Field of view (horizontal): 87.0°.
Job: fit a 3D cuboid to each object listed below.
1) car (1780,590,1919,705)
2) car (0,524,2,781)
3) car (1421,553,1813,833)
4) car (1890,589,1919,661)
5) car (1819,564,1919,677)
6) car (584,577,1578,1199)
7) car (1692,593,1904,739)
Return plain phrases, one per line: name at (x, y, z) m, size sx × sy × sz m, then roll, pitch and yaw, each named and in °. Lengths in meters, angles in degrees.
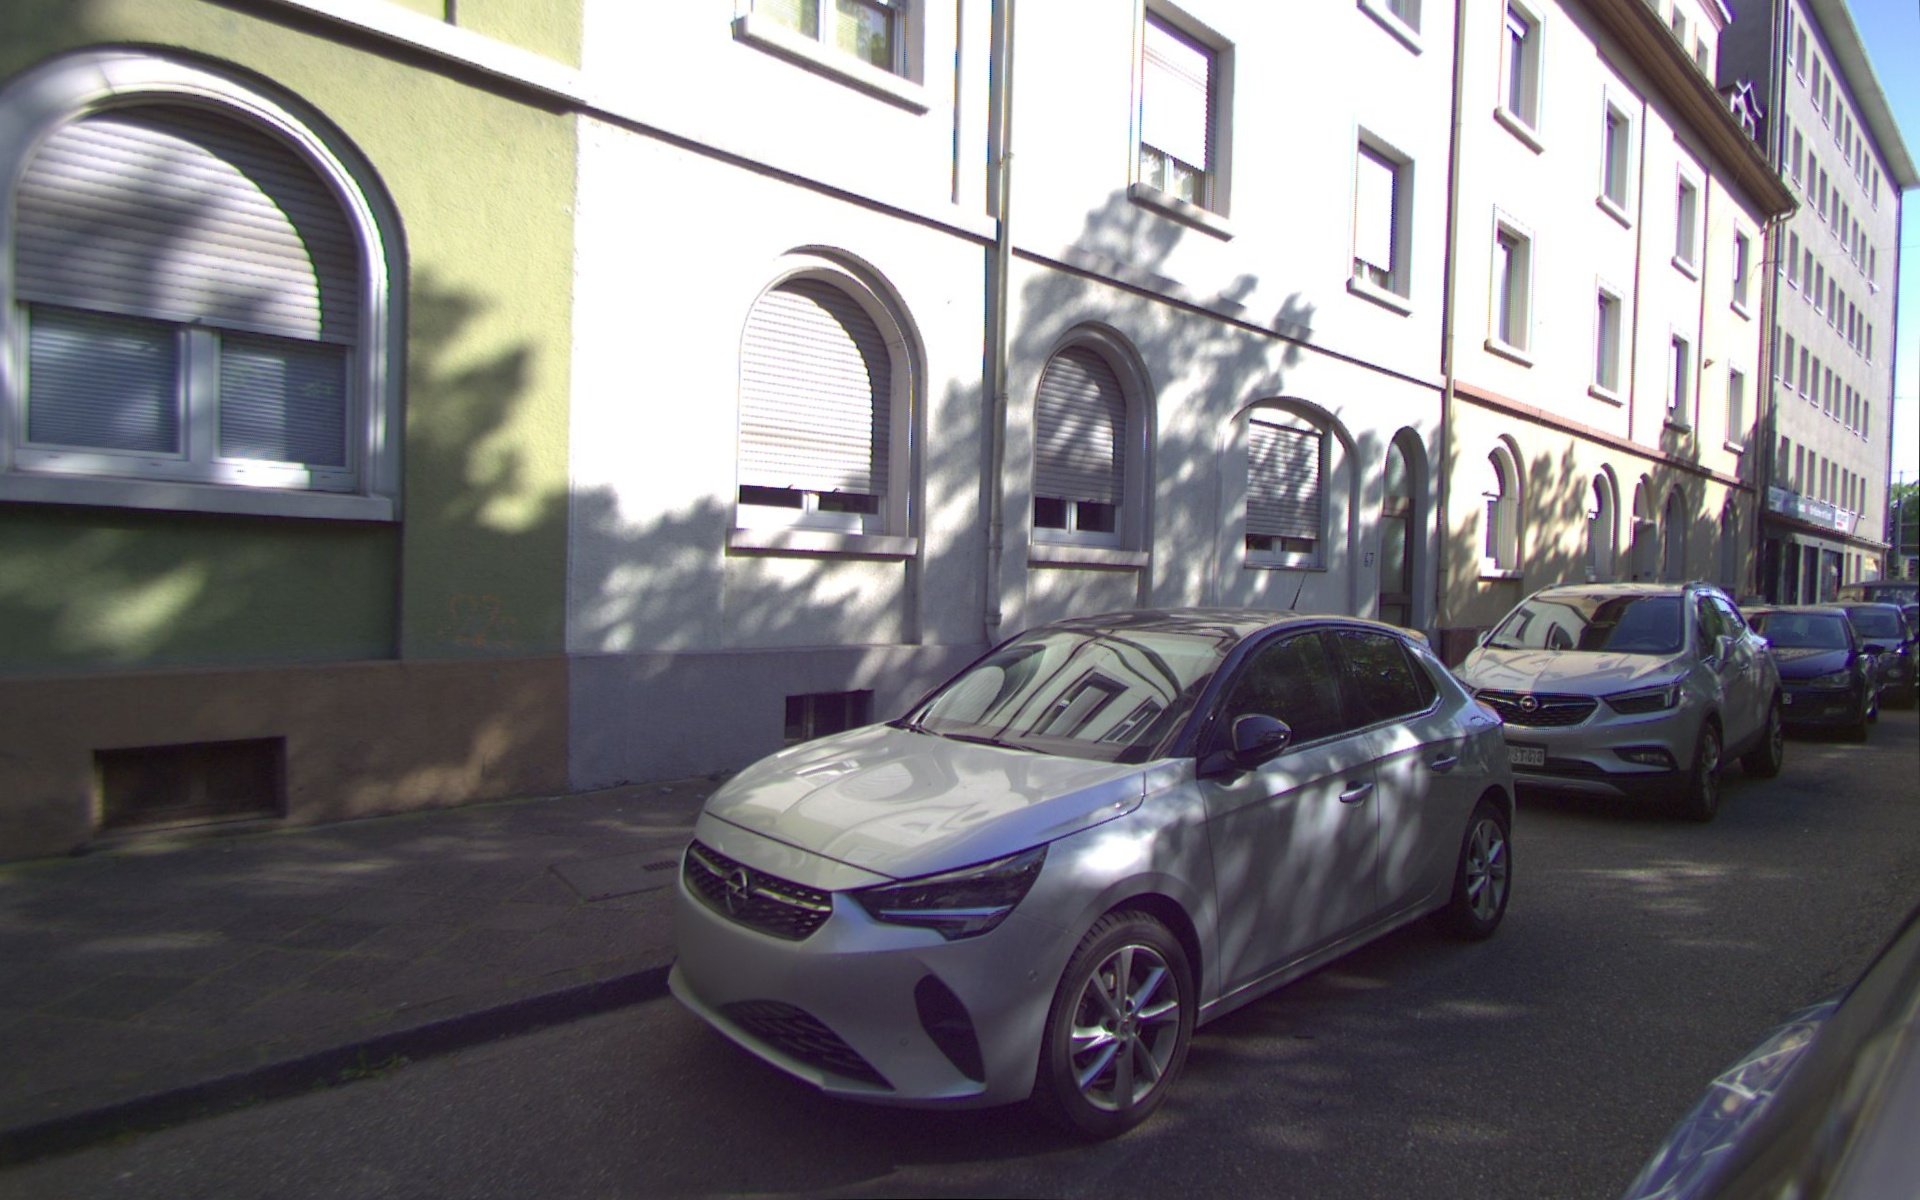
car at (13.823, 0.635, 15.386) m, size 3.534 × 1.517 × 1.624 m, roll 0°, pitch 2°, yaw -43°
car at (-3.298, 0.623, 0.478) m, size 4.088 × 1.547 × 1.725 m, roll 0°, pitch 2°, yaw -43°
car at (5.480, 0.535, 8.214) m, size 4.088 × 1.707 × 1.724 m, roll 0°, pitch 2°, yaw -43°
car at (22.182, 0.546, 22.510) m, size 4.165 × 1.519 × 1.765 m, roll 0°, pitch 2°, yaw -42°
car at (18.004, 0.349, 19.119) m, size 4.760 × 1.924 × 1.952 m, roll 0°, pitch 2°, yaw -41°
car at (0.829, 0.679, 4.127) m, size 4.085 × 1.450 × 1.726 m, roll 0°, pitch 2°, yaw -41°
car at (10.043, 0.655, 12.034) m, size 3.798 × 1.411 × 1.550 m, roll 0°, pitch 2°, yaw -45°
